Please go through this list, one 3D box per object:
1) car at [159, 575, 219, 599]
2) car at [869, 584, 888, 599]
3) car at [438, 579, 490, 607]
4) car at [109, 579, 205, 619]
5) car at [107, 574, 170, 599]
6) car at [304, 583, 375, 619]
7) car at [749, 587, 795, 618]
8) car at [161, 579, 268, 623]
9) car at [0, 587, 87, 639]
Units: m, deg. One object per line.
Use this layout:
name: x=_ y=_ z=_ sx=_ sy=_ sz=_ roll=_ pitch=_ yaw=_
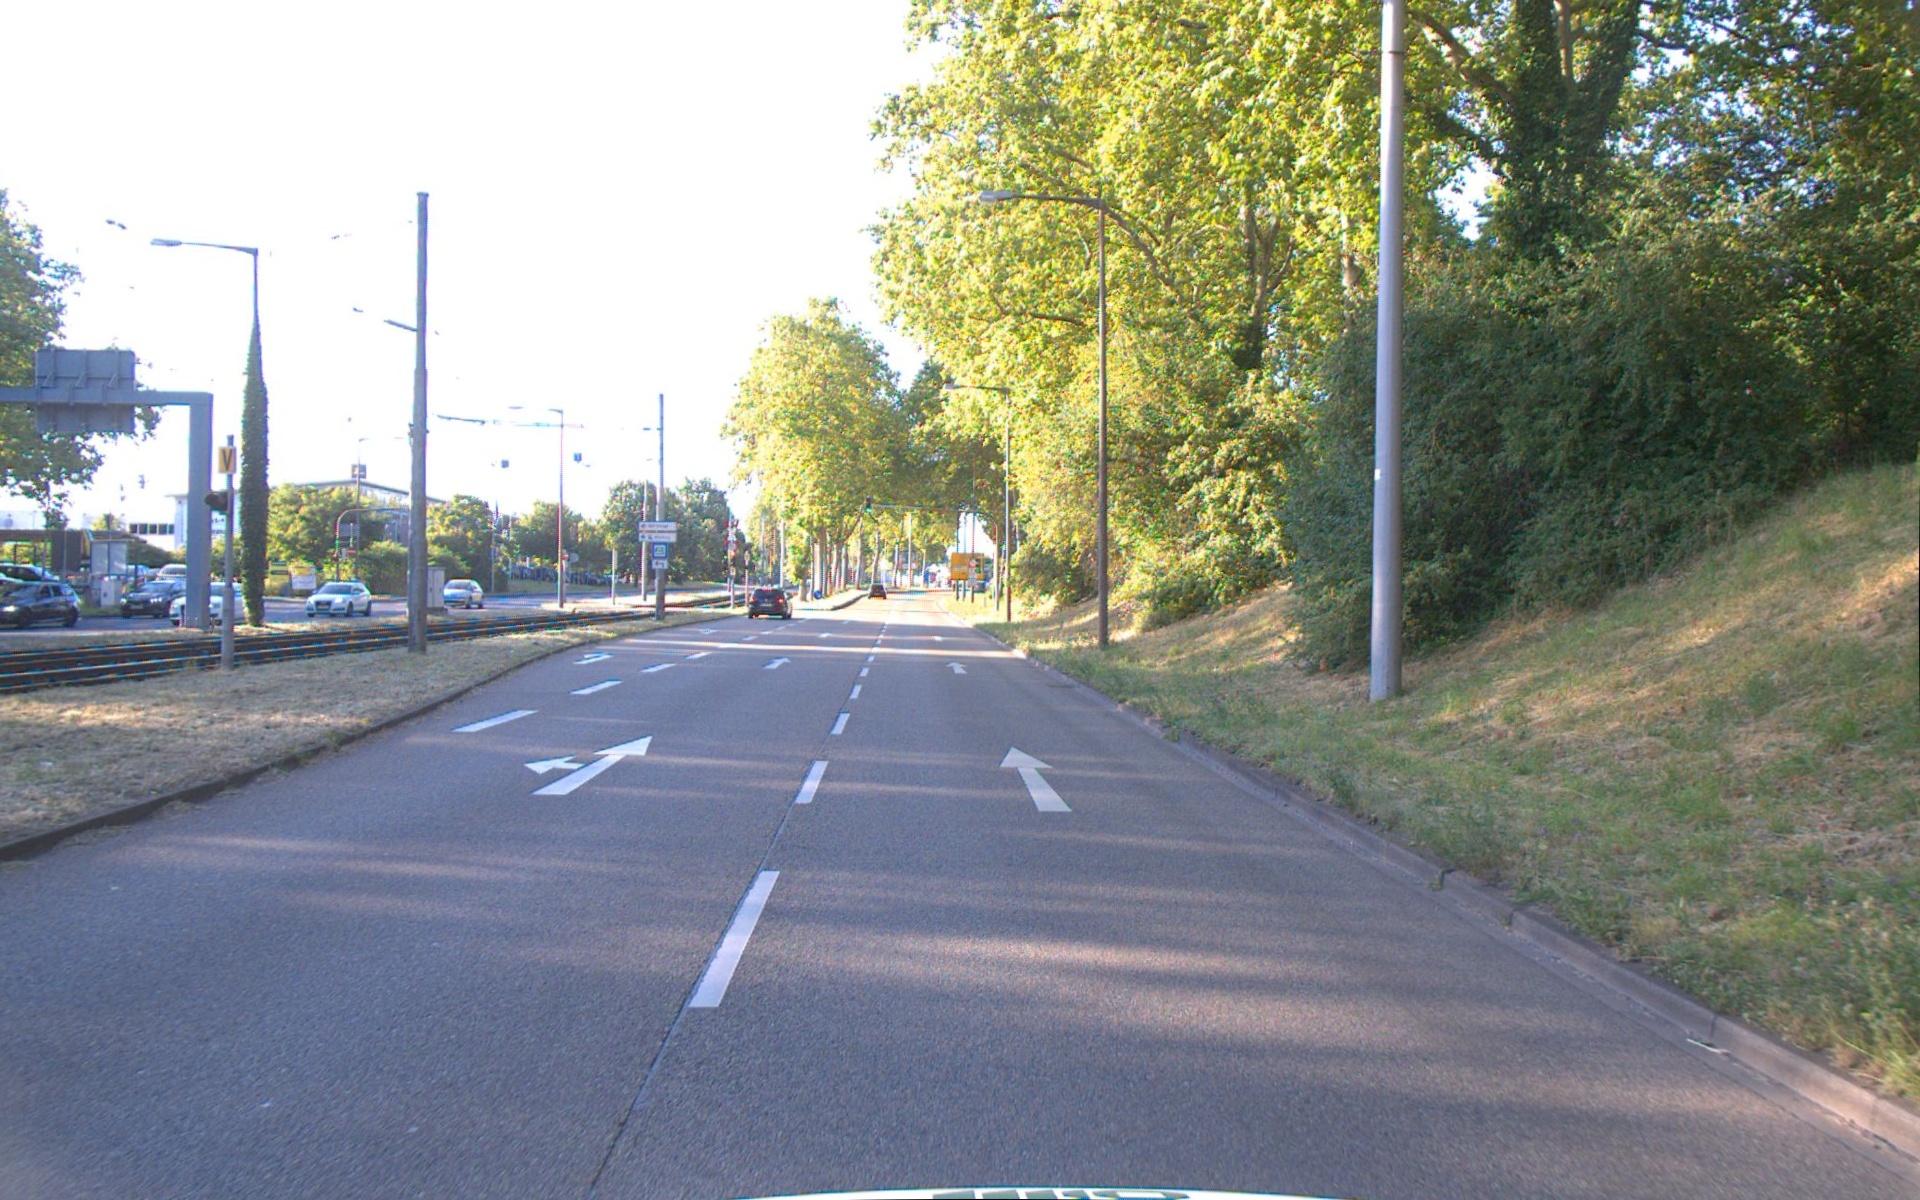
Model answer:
car: x=-48.157 y=-0.810 z=103.444 sx=1.803 sy=1.467 sz=4.000 roll=1 pitch=0 yaw=1
car: x=-7.897 y=-0.828 z=160.441 sx=1.756 sy=1.427 sz=3.688 roll=1 pitch=0 yaw=-1
car: x=-26.692 y=-0.405 z=89.055 sx=1.620 sy=1.440 sz=4.257 roll=1 pitch=1 yaw=-2
car: x=-32.691 y=-0.051 z=67.499 sx=1.801 sy=1.507 sz=4.597 roll=1 pitch=0 yaw=-3
car: x=-51.045 y=-0.852 z=102.830 sx=1.803 sy=1.467 sz=4.000 roll=1 pitch=0 yaw=1
car: x=-26.494 y=0.020 z=70.733 sx=1.620 sy=1.440 sz=4.256 roll=1 pitch=1 yaw=-3
car: x=-8.646 y=0.116 z=76.374 sx=1.756 sy=1.427 sz=3.688 roll=0 pitch=0 yaw=-1
car: x=-25.534 y=0.019 z=56.818 sx=1.802 sy=1.440 sz=4.597 roll=0 pitch=0 yaw=-3
car: x=-29.217 y=0.375 z=51.532 sx=1.801 sy=1.507 sz=4.434 roll=1 pitch=0 yaw=-3
